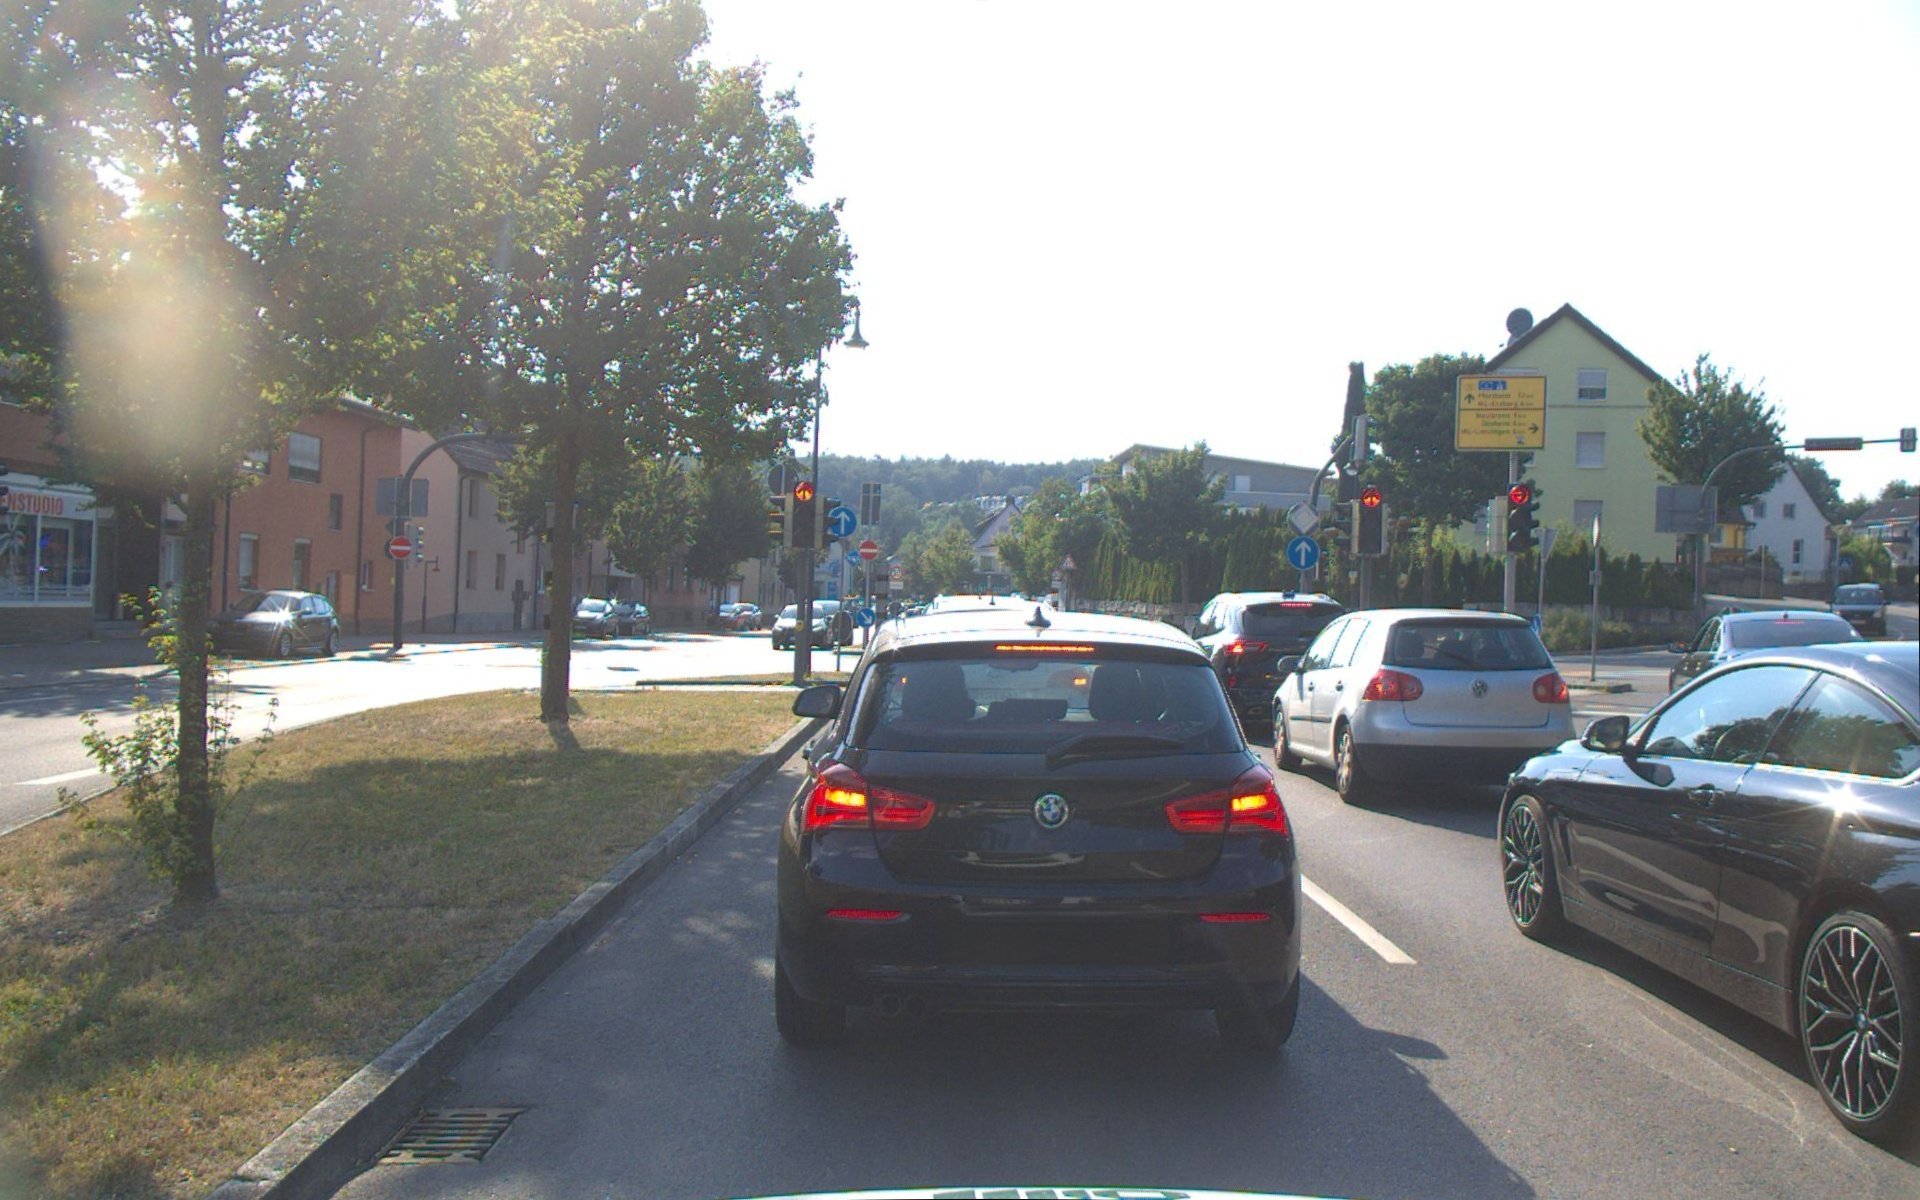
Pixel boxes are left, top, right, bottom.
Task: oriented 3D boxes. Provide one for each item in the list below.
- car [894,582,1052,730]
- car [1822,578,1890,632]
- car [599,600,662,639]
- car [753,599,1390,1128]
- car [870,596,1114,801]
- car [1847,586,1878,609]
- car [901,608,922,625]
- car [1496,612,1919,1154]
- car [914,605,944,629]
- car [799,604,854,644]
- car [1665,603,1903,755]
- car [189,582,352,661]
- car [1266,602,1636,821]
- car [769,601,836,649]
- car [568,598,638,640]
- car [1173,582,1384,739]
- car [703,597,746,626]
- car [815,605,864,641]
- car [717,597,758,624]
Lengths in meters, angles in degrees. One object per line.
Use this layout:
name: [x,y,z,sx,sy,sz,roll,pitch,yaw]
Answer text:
car: [0.179,0.637,21.018,1.779,1.670,4.242,1,0,1]
car: [29.816,0.150,54.958,1.753,1.533,4.061,-1,2,32]
car: [-14.414,0.837,72.591,1.884,1.624,4.000,1,0,1]
car: [0.339,0.733,6.779,1.754,1.439,4.347,1,0,1]
car: [0.262,0.720,14.297,1.779,1.476,4.242,1,0,1]
car: [61.249,-0.197,112.220,1.679,1.265,3.993,1,4,31]
car: [-4.595,1.568,158.066,1.885,1.624,3.999,1,0,-1]
car: [3.483,0.783,5.887,1.779,1.413,4.347,1,0,1]
car: [-2.292,1.216,122.759,1.854,1.732,4.518,0,0,-6]
car: [-4.980,0.876,62.136,1.658,1.377,4.000,1,0,1]
car: [9.072,0.777,18.558,1.646,1.460,4.592,1,0,17]
car: [-15.464,0.450,37.312,1.805,1.579,4.001,3,0,2]
car: [3.784,0.768,13.566,1.779,1.471,4.347,1,0,1]
car: [-5.177,0.793,54.797,1.730,1.484,4.000,1,0,1]
car: [-14.422,0.735,66.968,1.884,1.624,4.000,1,0,1]
car: [3.766,0.656,20.268,1.779,1.695,4.347,1,0,1]
car: [-13.808,0.657,97.081,1.884,1.624,4.000,1,0,1]
car: [-4.996,0.941,69.135,1.658,1.377,4.000,1,0,1]
car: [-13.761,0.646,102.587,1.884,1.624,4.000,1,0,1]
